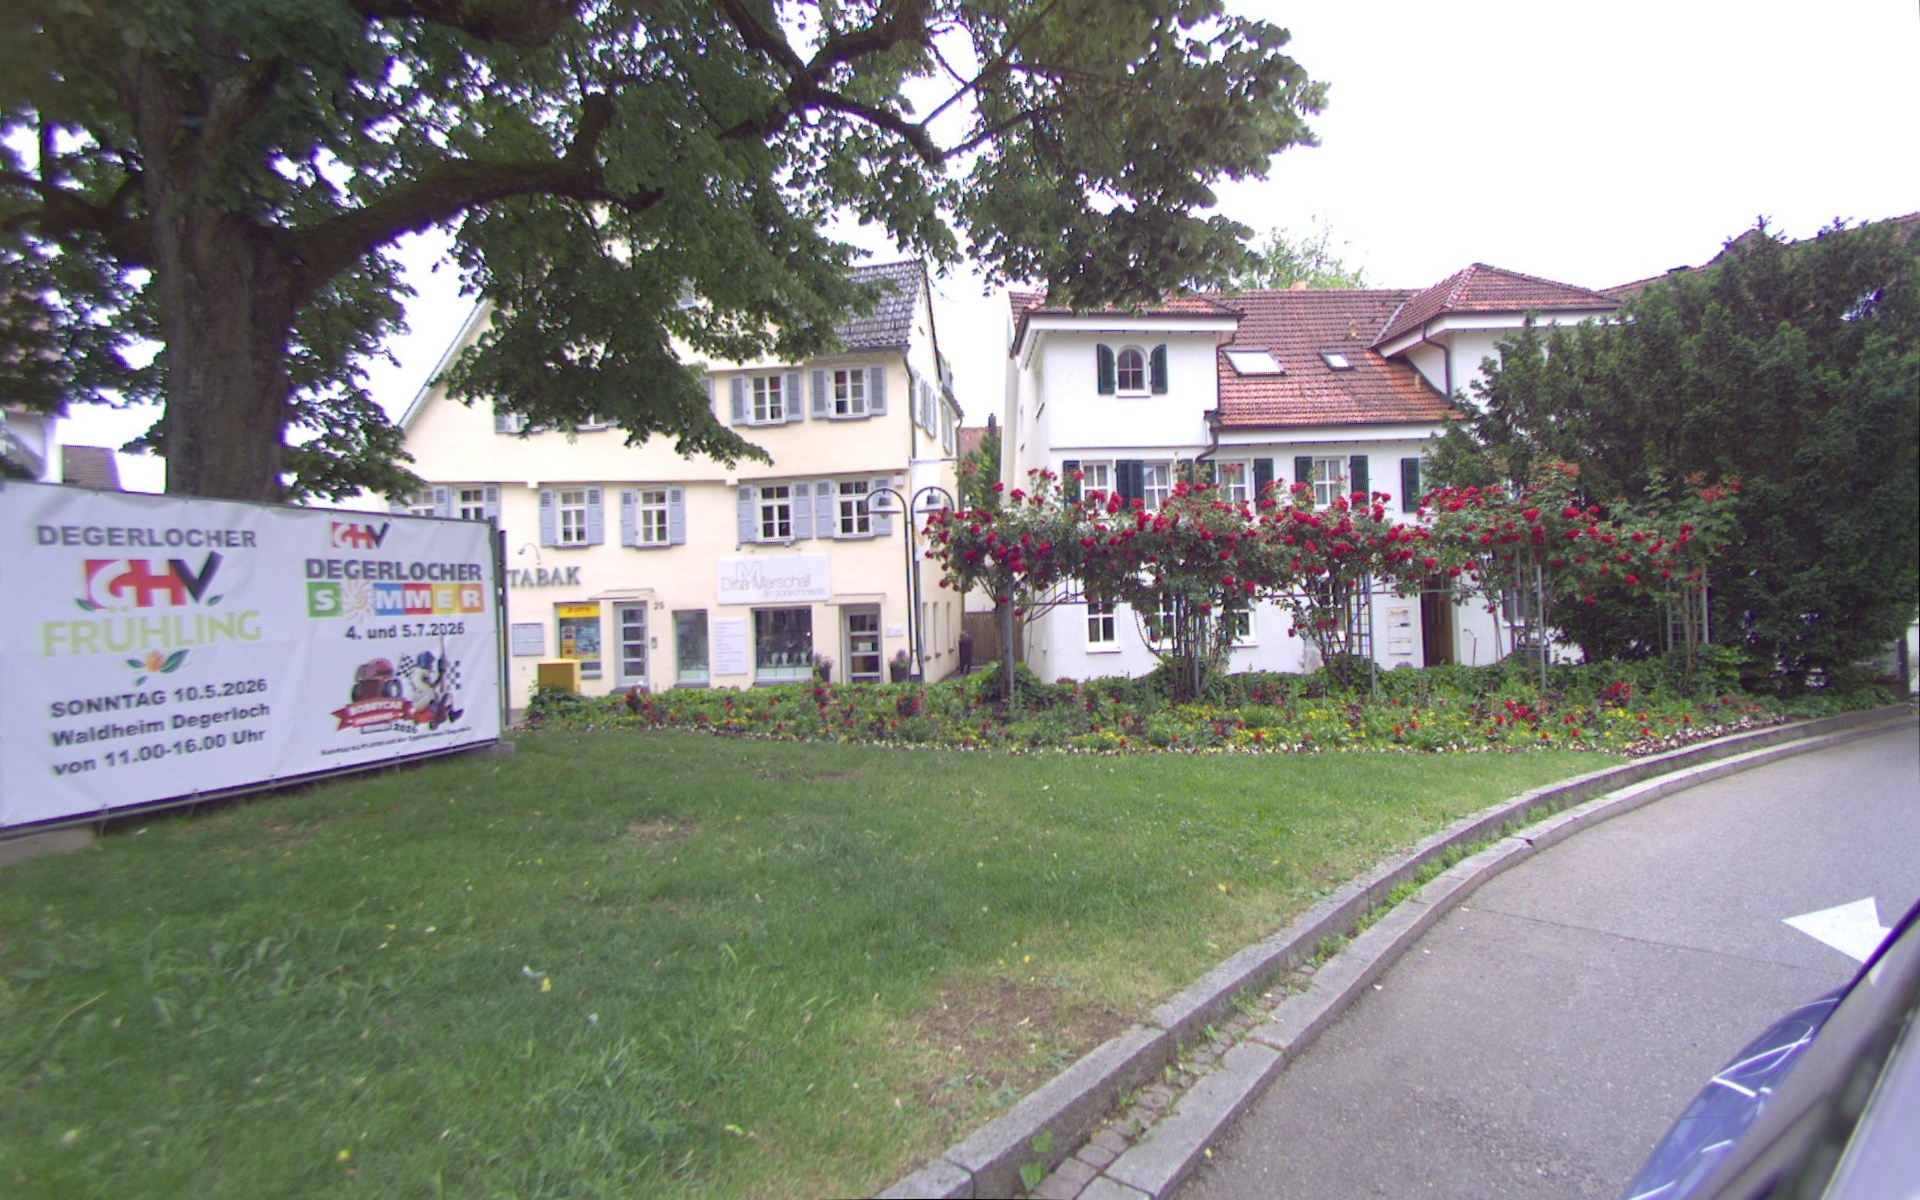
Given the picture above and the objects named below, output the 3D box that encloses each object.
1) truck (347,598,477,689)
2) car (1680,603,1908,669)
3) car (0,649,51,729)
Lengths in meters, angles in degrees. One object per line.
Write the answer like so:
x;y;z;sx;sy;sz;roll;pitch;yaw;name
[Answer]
-18.616;1.461;34.717;2.783;2.726;5.303;-2;-2;-16;truck
20.146;0.849;24.619;1.859;1.437;3.809;-1;-1;-27;car
-19.683;1.744;19.023;2.080;1.567;4.390;-1;-3;-15;car
